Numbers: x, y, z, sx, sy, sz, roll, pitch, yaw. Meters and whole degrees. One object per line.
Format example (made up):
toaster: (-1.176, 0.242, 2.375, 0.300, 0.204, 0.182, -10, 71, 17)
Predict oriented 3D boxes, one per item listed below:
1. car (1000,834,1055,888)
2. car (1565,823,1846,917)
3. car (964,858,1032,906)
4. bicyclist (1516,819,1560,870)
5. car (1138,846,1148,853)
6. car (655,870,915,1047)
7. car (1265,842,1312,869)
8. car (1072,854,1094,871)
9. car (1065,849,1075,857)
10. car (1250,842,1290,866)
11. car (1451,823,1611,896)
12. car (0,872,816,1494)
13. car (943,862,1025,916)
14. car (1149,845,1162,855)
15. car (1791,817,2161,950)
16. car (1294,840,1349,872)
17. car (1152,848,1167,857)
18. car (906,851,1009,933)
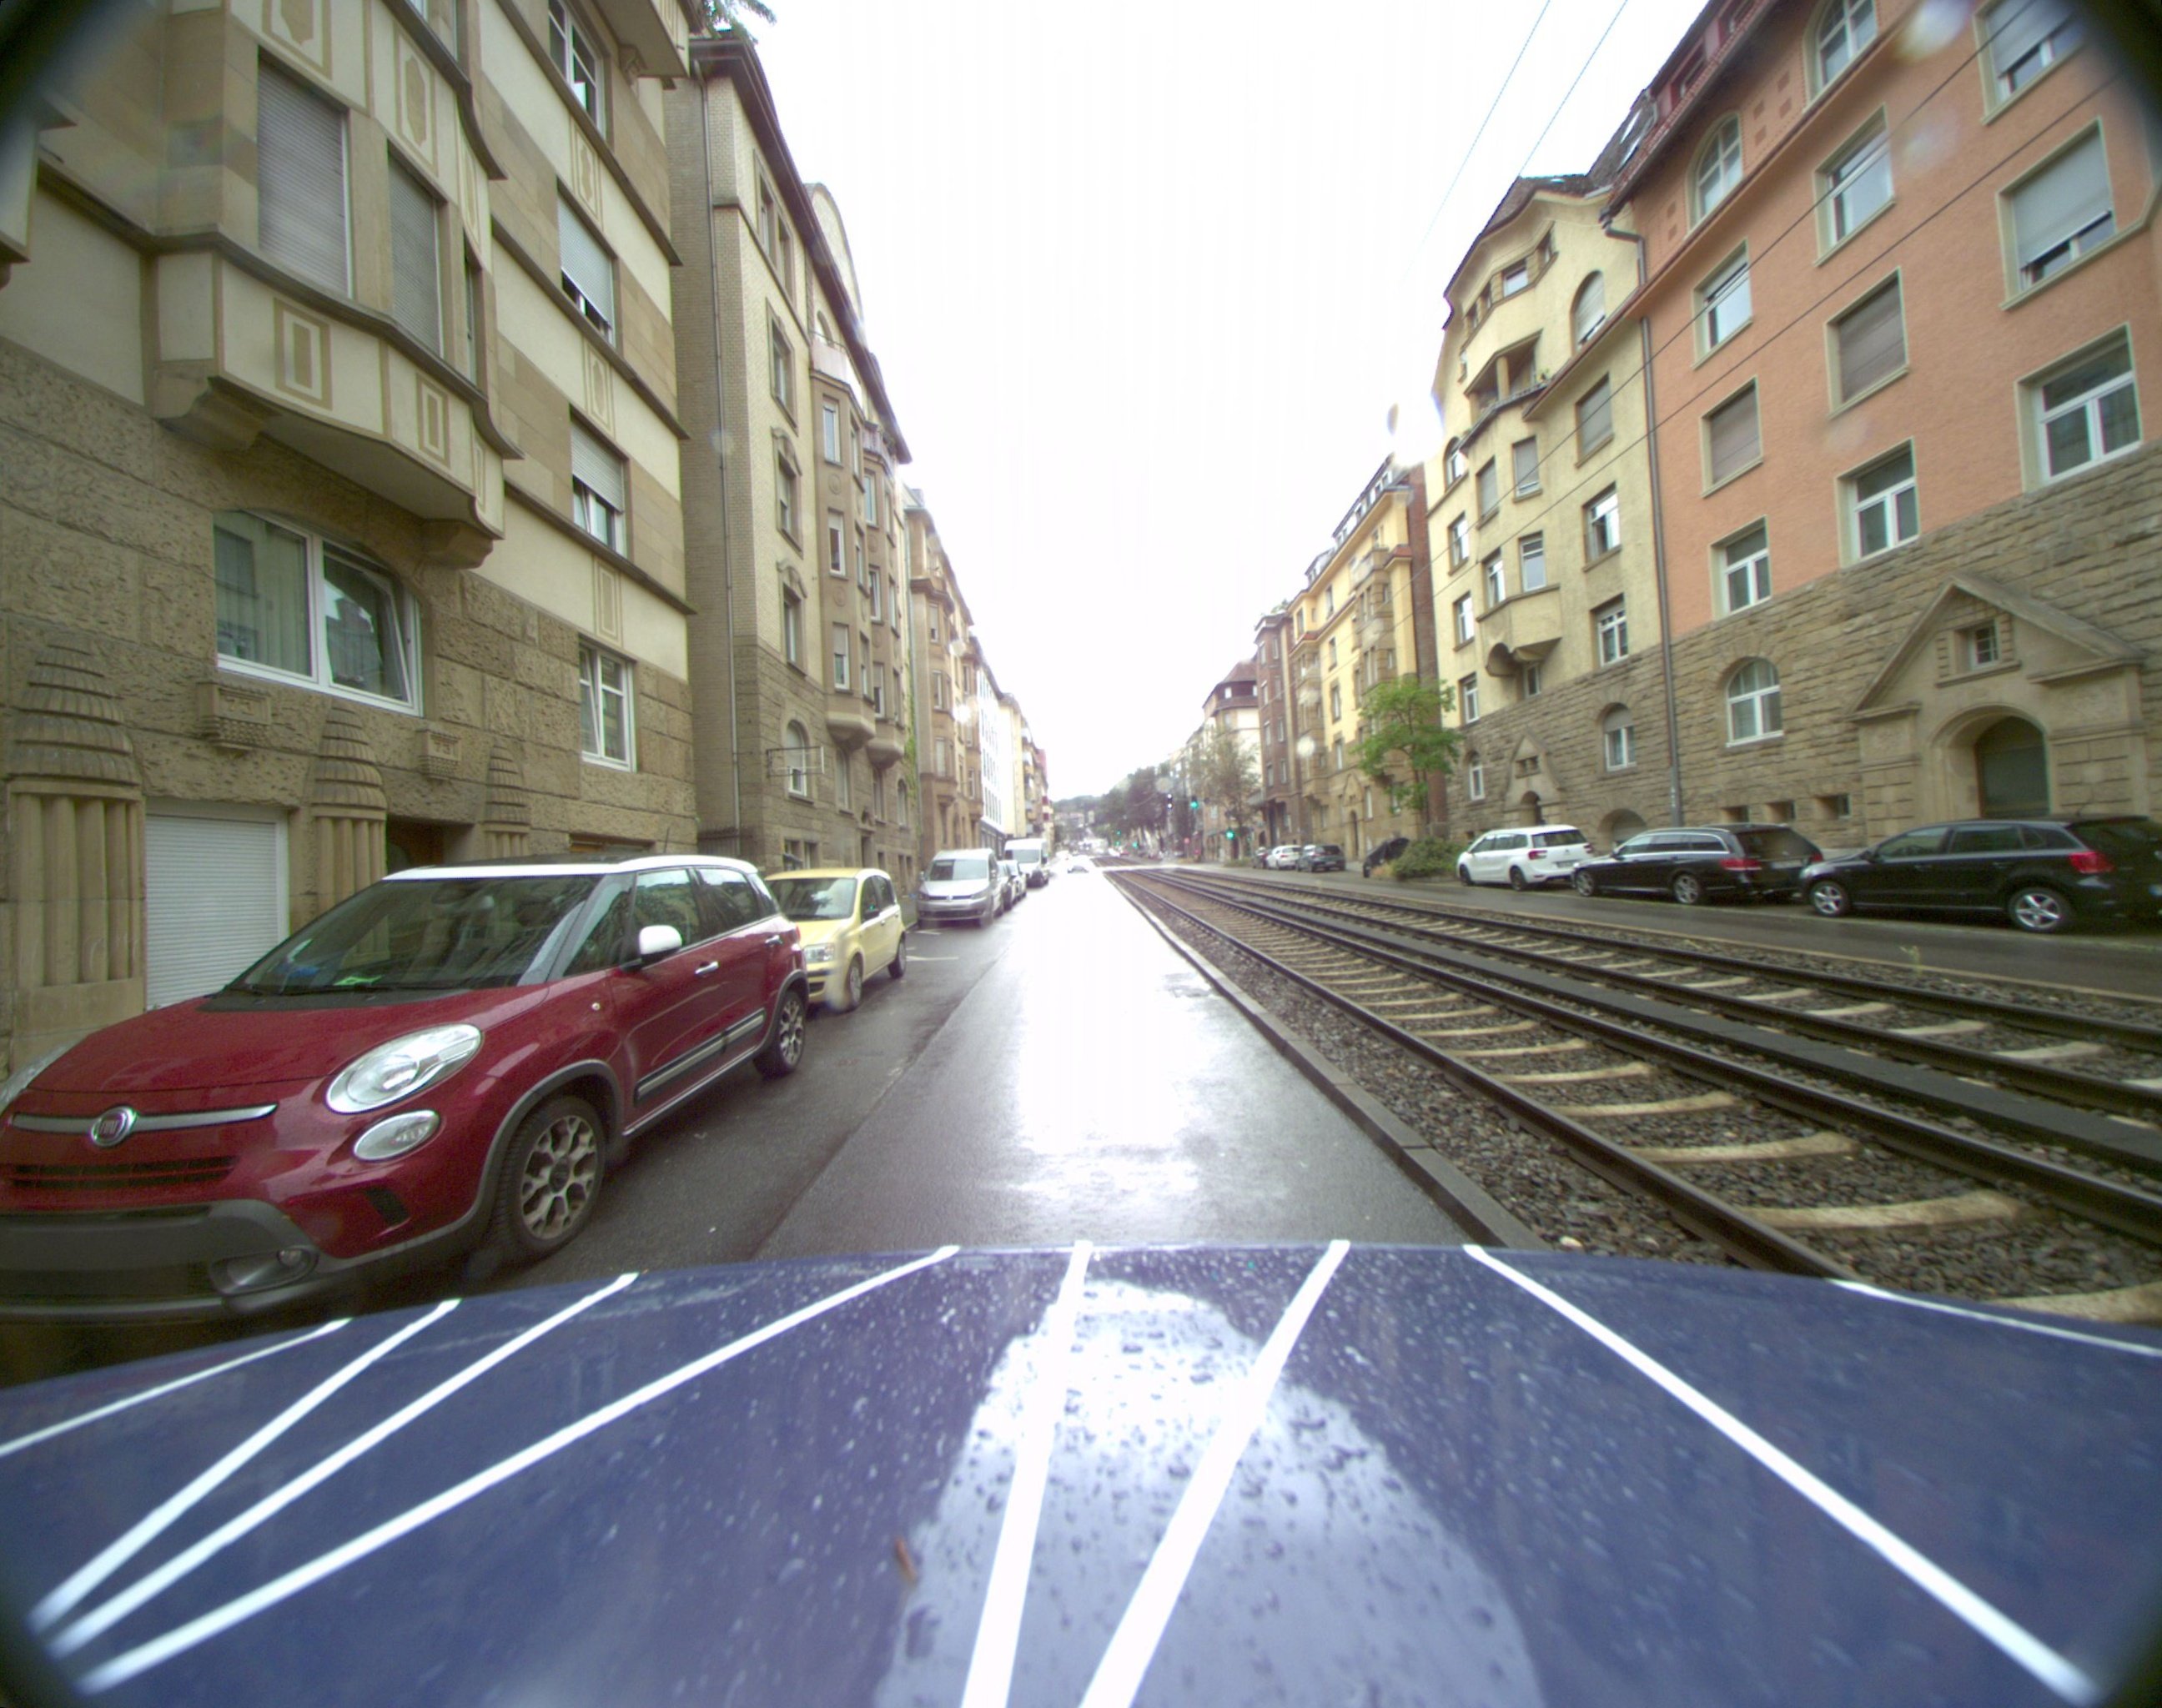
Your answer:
car: (-2.705, 0.307, 39.922, 1.991, 2.520, 6.155, -3, 0, 3)
car: (12.208, 0.247, 15.362, 1.760, 1.482, 4.597, -4, 1, -1)
car: (-2.991, 0.959, 28.192, 1.935, 1.516, 4.058, -3, 0, 1)
bicyclist: (14.614, -0.298, 24.317, 0.894, 1.592, 0.774, -2, 1, 1)
car: (12.811, -1.033, 157.536, 1.794, 1.339, 4.257, -2, 1, 0)
car: (-3.186, 1.028, 8.973, 1.632, 1.502, 3.531, -3, 0, -1)
car: (12.442, 0.062, 45.746, 1.759, 1.443, 4.043, -5, 1, 2)
car: (0.176, 0.678, 61.890, 1.737, 1.262, 4.258, 0, 0, 1)
car: (-2.128, -0.228, 149.895, 1.794, 1.459, 4.257, -2, 1, 1)
car: (12.578, -0.011, 50.727, 1.759, 1.419, 3.712, -5, 1, 2)
car: (12.232, 0.106, 21.025, 1.759, 1.663, 4.259, -5, 1, 0)
car: (-3.008, 0.966, 4.088, 1.774, 1.592, 3.999, -1, 0, -1)
car: (-2.915, 1.014, 23.759, 1.931, 1.380, 3.982, -3, 0, 1)
car: (12.440, -0.635, 127.098, 1.794, 1.609, 4.257, -2, 1, 0)
car: (12.449, 0.298, 10.456, 1.760, 1.396, 3.694, -5, 1, -2)
car: (12.499, 0.066, 39.683, 1.717, 1.473, 3.712, -5, 1, 2)
car: (11.949, -0.245, 115.512, 1.794, 1.339, 4.257, -2, 1, 0)
car: (-2.945, 0.832, 18.942, 1.811, 1.758, 3.962, -2, 0, 1)
